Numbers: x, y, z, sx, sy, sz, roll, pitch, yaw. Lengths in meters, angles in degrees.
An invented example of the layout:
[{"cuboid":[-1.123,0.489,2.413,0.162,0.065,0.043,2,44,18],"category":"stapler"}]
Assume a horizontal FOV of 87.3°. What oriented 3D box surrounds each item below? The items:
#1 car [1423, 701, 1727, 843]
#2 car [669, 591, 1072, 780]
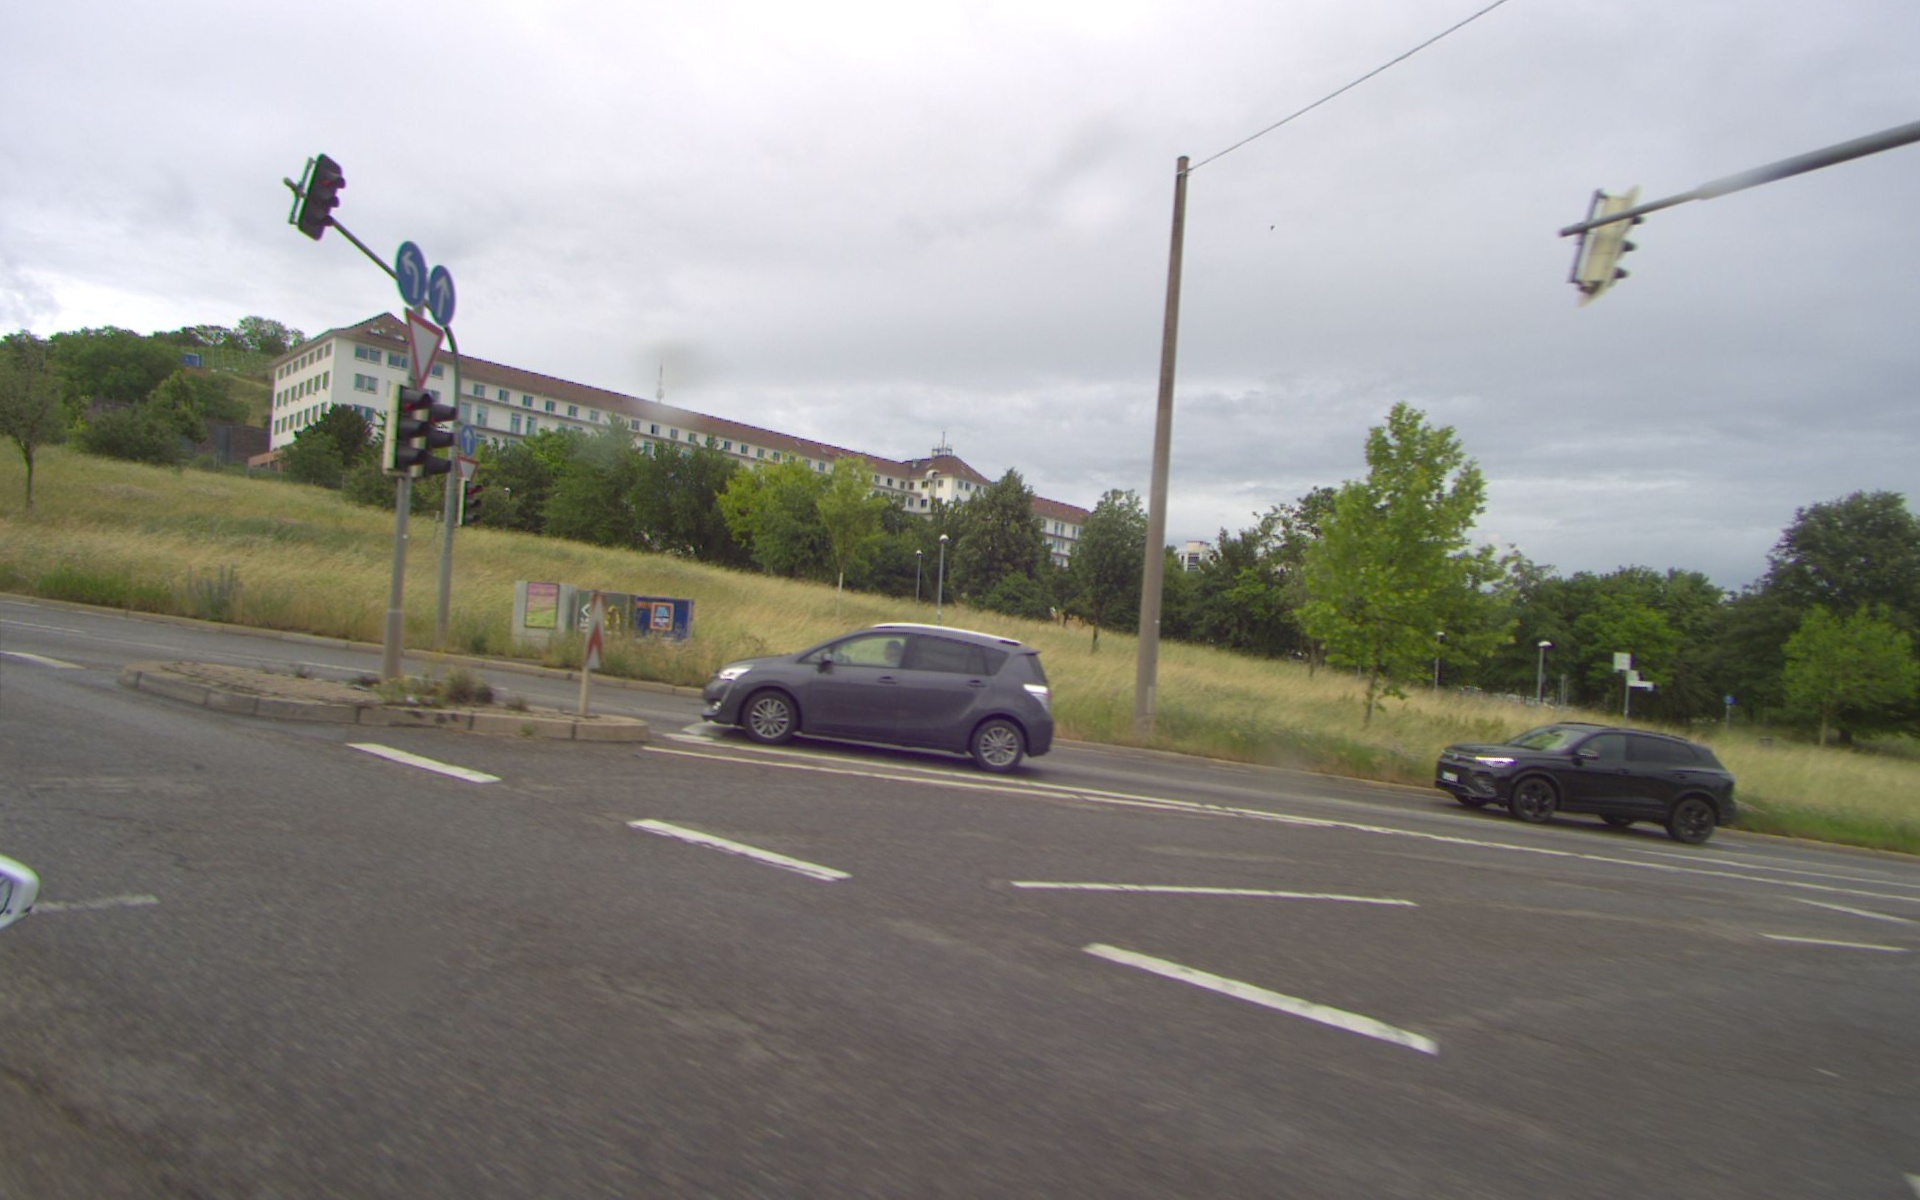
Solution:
[{"cuboid":[9.967,2.760,16.489,3.817,1.661,1.722,7,-2,-2],"category":"car"},{"cuboid":[-1.073,1.070,12.789,4.545,1.660,2.002,7,-3,-3],"category":"car"}]
